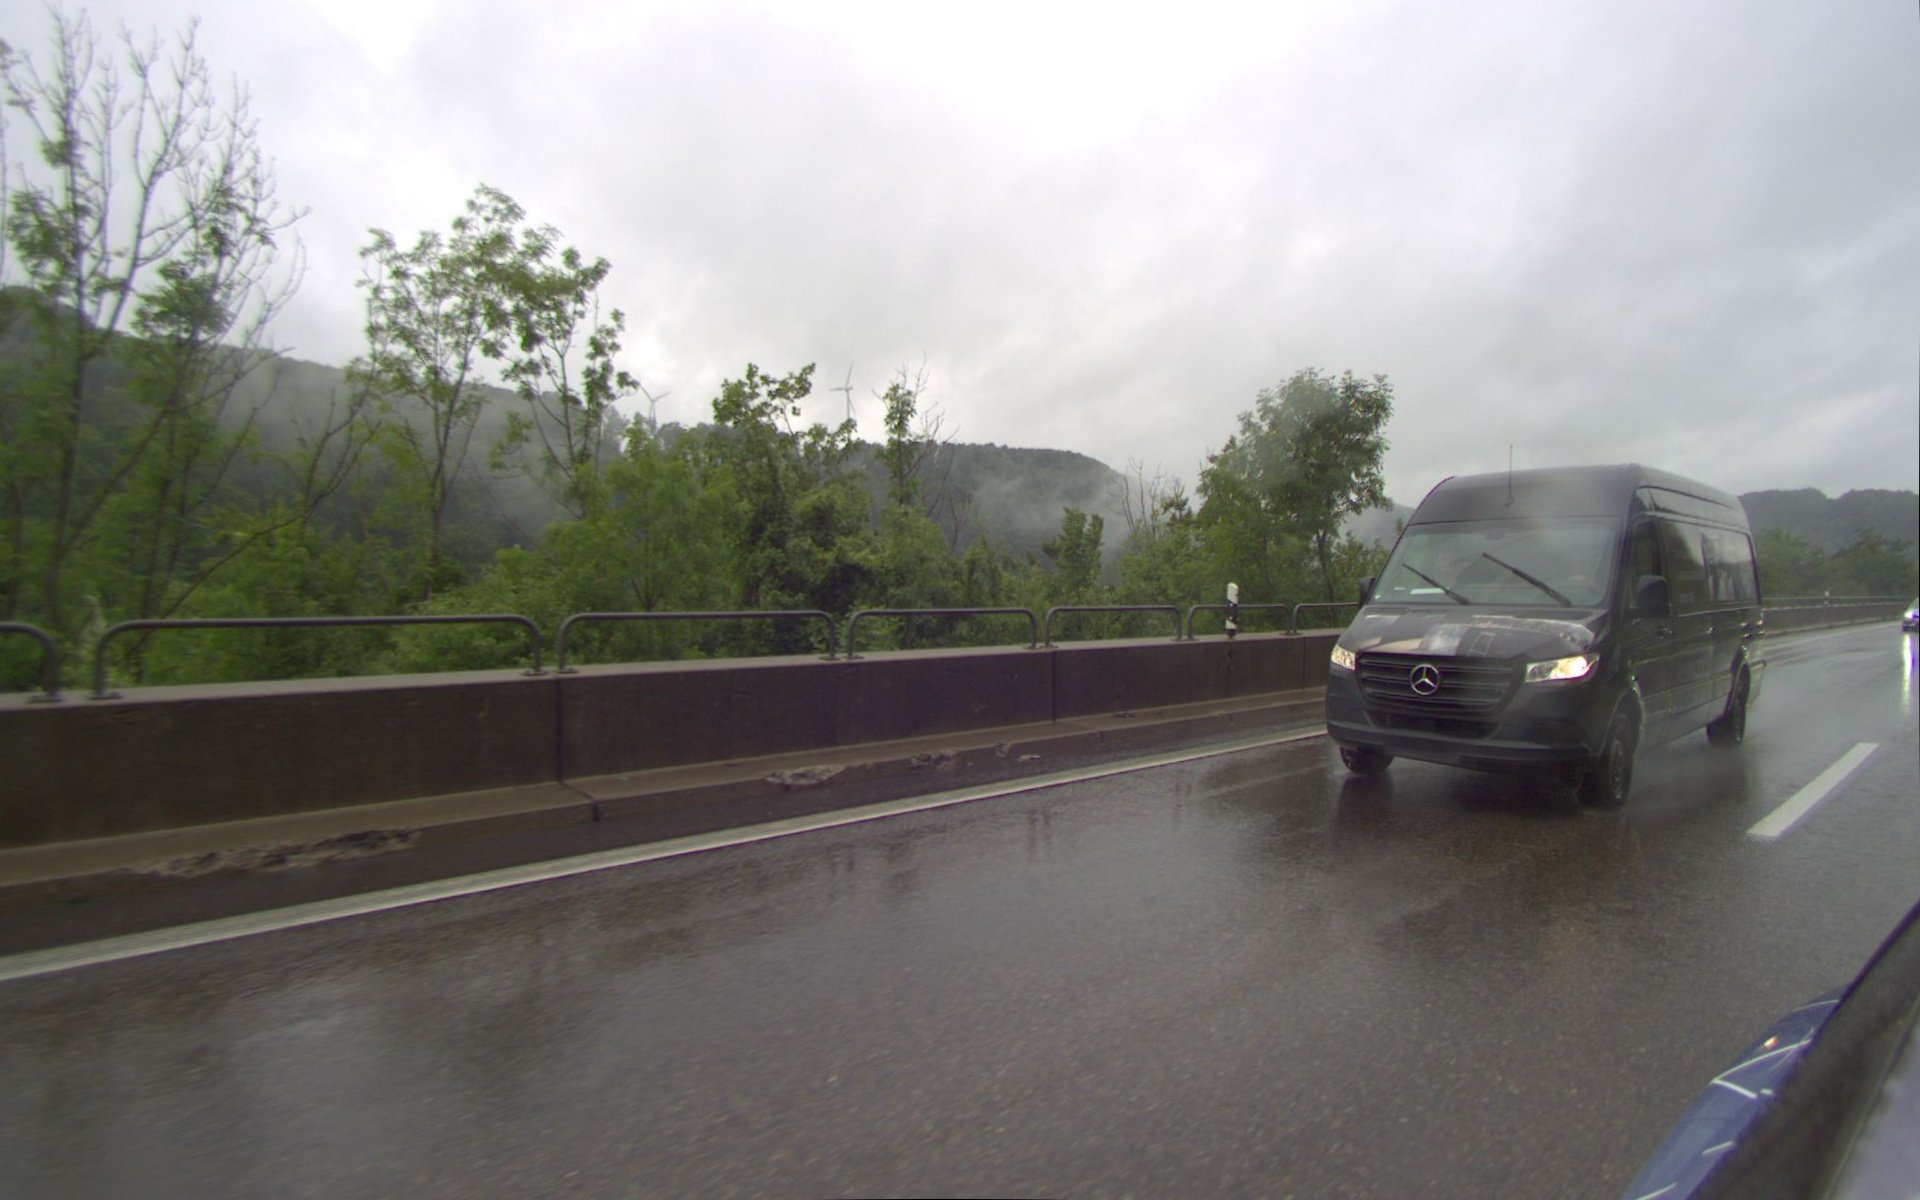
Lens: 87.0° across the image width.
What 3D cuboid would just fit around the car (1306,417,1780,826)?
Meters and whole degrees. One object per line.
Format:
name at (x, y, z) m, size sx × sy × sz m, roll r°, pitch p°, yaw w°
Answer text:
car at (5.704, 0.077, 9.272) m, size 6.594 × 2.525 × 1.995 m, roll -1°, pitch 2°, yaw -44°

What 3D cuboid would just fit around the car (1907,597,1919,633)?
car at (41.495, 0.649, 42.577) m, size 4.485 × 1.433 × 1.989 m, roll 0°, pitch 3°, yaw -42°
